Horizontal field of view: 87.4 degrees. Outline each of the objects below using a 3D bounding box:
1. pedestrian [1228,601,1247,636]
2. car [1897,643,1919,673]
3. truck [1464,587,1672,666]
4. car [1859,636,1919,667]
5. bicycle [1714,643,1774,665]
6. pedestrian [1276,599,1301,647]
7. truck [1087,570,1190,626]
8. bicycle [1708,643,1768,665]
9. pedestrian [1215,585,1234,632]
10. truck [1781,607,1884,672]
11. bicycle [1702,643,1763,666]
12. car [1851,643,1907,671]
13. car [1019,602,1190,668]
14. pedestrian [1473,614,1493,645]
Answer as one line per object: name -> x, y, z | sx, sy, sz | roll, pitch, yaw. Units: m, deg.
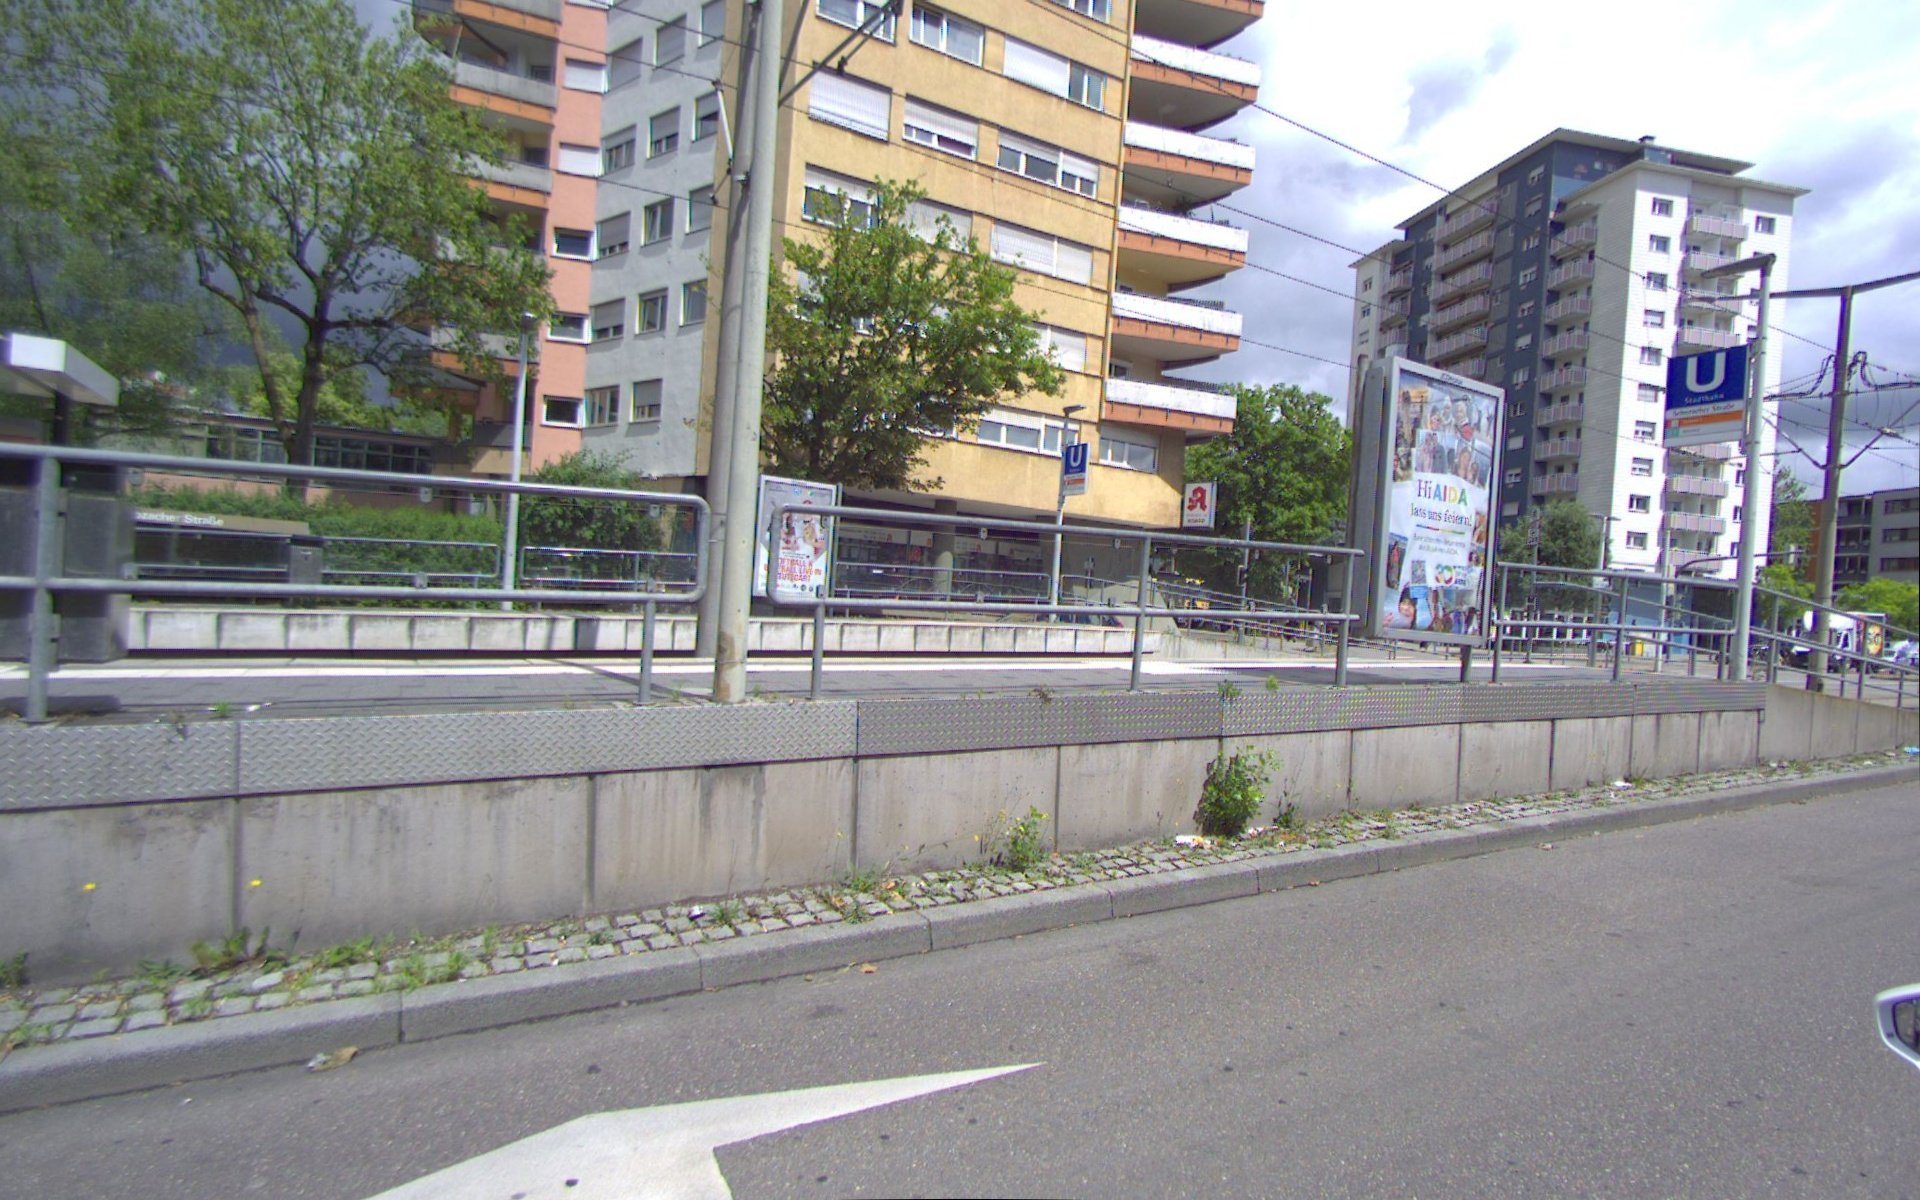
pedestrian -> 11.801, 0.782, 42.725 | 0.541, 1.459, 0.497 | 2, -1, -19
car -> 60.024, 3.618, 62.448 | 3.732, 1.780, 1.583 | 2, 0, -31
truck -> 24.980, 1.008, 41.764 | 2.718, 2.979, 7.258 | 2, 0, -20
car -> 64.561, 3.543, 68.944 | 3.846, 2.001, 1.657 | 2, 0, 18
bicycle -> 43.415, 2.985, 55.674 | 2.521, 1.022, 0.754 | 4, 0, 33
pedestrian -> 12.429, 0.864, 38.007 | 0.649, 1.799, 0.658 | 2, 0, -1
truck -> 7.981, -0.112, 45.240 | 2.323, 2.320, 4.260 | 2, 0, -29
bicycle -> 42.555, 2.955, 54.981 | 2.521, 1.022, 0.754 | 4, 0, 33
pedestrian -> 11.574, 0.367, 43.937 | 0.532, 2.040, 0.560 | 2, 0, -18
truck -> 45.929, 2.097, 52.811 | 7.244, 3.159, 2.267 | 2, 0, -34
bicycle -> 41.705, 2.912, 54.282 | 2.521, 1.022, 0.754 | 4, 0, 33
car -> 52.182, 3.240, 57.001 | 3.733, 1.480, 1.399 | 2, 0, -32
car -> 3.411, 0.825, 23.575 | 3.820, 1.424, 1.571 | 2, 0, -30
pedestrian -> 35.928, 2.025, 69.019 | 0.831, 2.040, 0.861 | 2, 0, -2
